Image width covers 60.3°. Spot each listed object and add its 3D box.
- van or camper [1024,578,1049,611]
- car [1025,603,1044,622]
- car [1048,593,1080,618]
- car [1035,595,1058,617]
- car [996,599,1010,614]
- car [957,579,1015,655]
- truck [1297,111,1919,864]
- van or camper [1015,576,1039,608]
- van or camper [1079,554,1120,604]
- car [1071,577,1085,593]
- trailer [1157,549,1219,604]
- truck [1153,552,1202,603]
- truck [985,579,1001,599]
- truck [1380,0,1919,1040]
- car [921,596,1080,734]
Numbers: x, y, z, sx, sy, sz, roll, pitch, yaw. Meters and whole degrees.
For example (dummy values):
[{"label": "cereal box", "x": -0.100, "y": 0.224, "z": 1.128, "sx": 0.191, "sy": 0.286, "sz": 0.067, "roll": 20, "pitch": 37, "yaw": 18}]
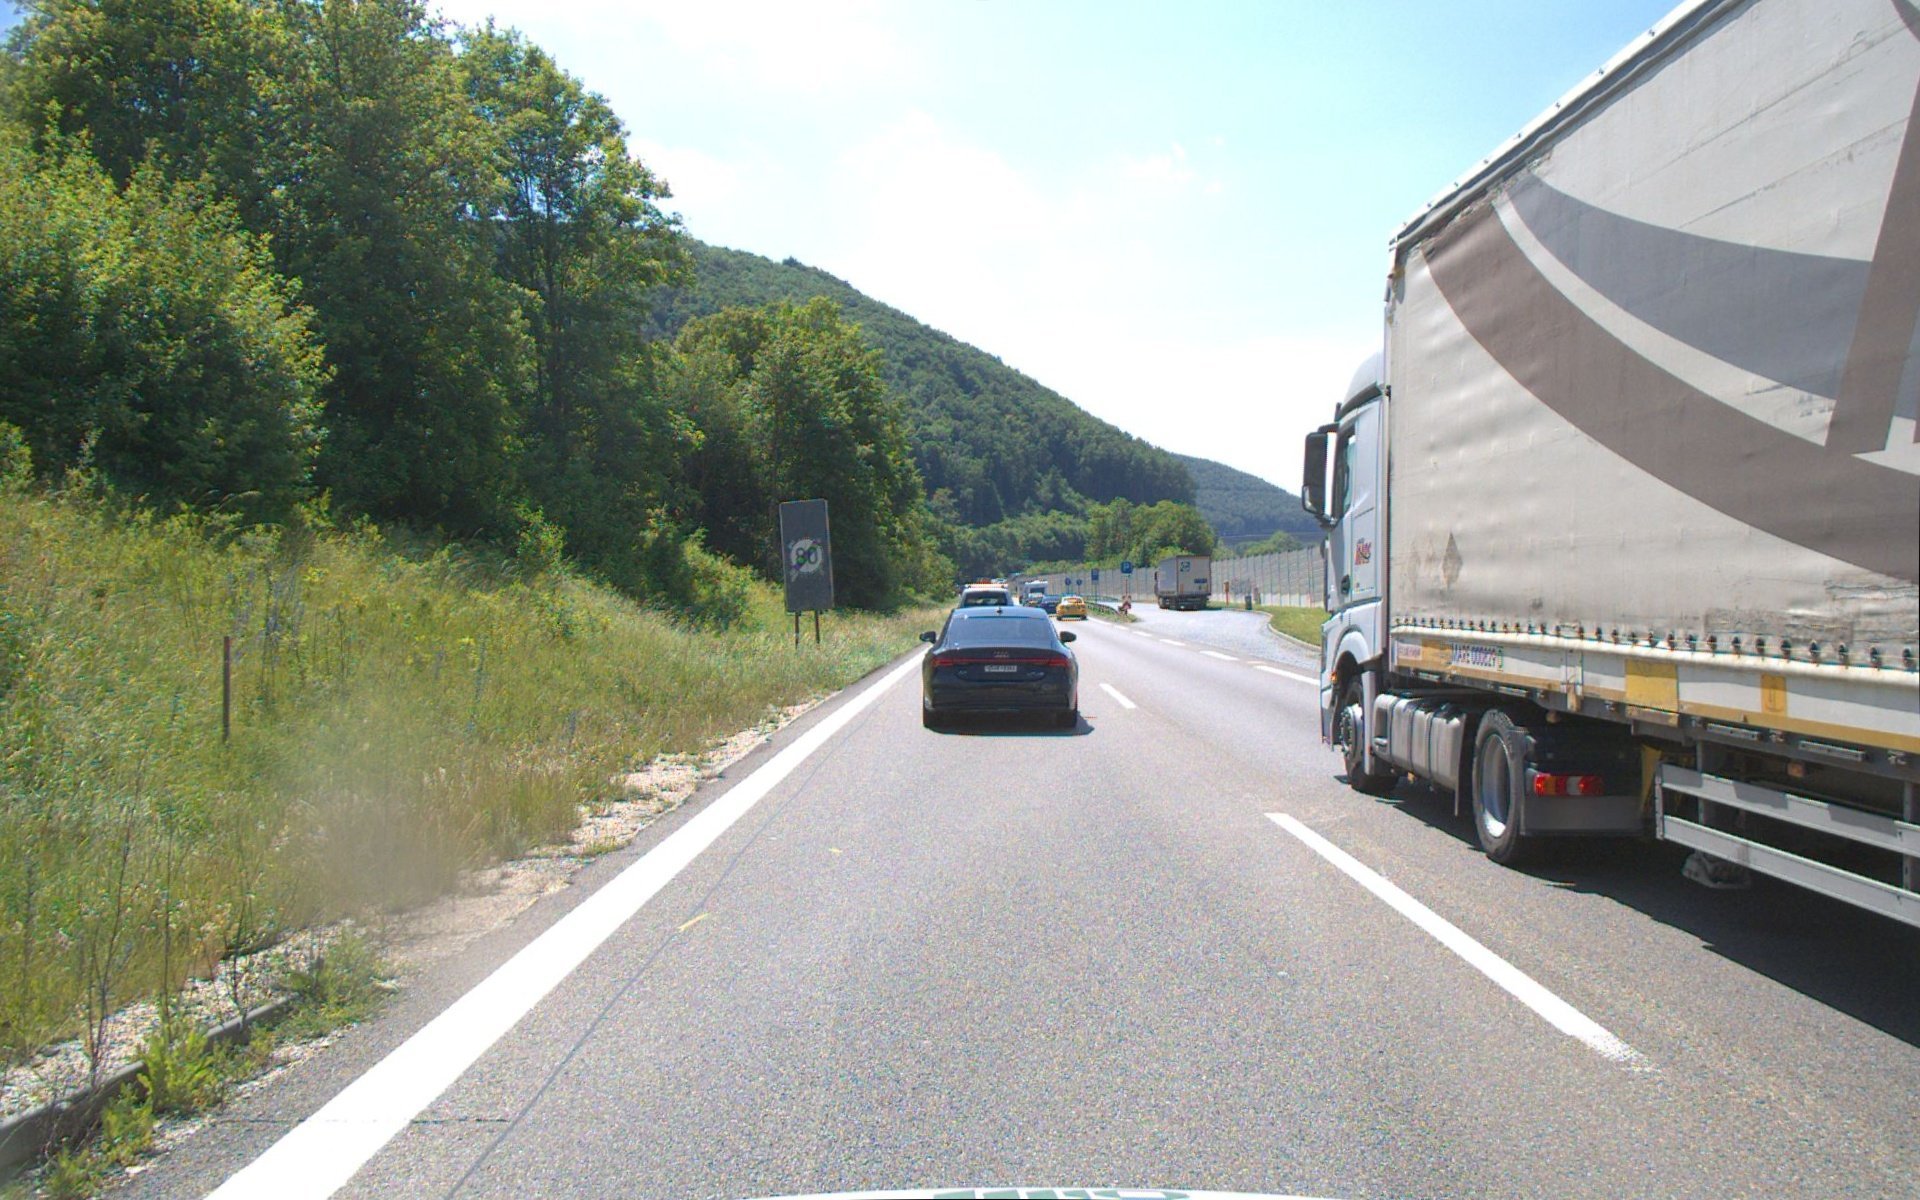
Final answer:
[{"label": "van or camper", "x": 7.691, "y": -0.535, "z": 167.626, "sx": 2.379, "sy": 3.210, "sz": 5.204, "roll": 1, "pitch": -1, "yaw": 1}, {"label": "car", "x": 6.220, "y": 1.038, "z": 137.695, "sx": 1.498, "sy": 1.552, "sz": 3.597, "roll": 1, "pitch": -1, "yaw": 1}, {"label": "car", "x": 6.494, "y": 0.335, "z": 103.368, "sx": 1.840, "sy": 1.525, "sz": 4.001, "roll": 0, "pitch": 0, "yaw": 2}, {"label": "car", "x": 6.208, "y": 0.430, "z": 118.864, "sx": 1.498, "sy": 1.552, "sz": 3.597, "roll": 1, "pitch": -1, "yaw": 1}, {"label": "car", "x": 4.870, "y": 0.752, "z": 186.256, "sx": 1.490, "sy": 1.580, "sz": 3.514, "roll": 2, "pitch": 0, "yaw": 1}, {"label": "car", "x": 0.701, "y": 0.459, "z": 45.915, "sx": 1.490, "sy": 2.003, "sz": 3.514, "roll": 2, "pitch": 0, "yaw": 0}, {"label": "truck", "x": 4.388, "y": -0.591, "z": 11.990, "sx": 2.664, "sy": 4.139, "sz": 5.753, "roll": 0, "pitch": -1, "yaw": -1}, {"label": "van or camper", "x": 8.753, "y": -1.050, "z": 216.542, "sx": 2.738, "sy": 3.975, "sz": 6.166, "roll": 1, "pitch": -1, "yaw": 0}, {"label": "van or camper", "x": 11.420, "y": -1.708, "z": 135.740, "sx": 2.738, "sy": 3.909, "sz": 6.166, "roll": 1, "pitch": -1, "yaw": 0}, {"label": "car", "x": 15.357, "y": -1.969, "z": 215.183, "sx": 1.543, "sy": 2.049, "sz": 3.429, "roll": -1, "pitch": 0, "yaw": 2}, {"label": "trailer", "x": 17.284, "y": -1.722, "z": 126.198, "sx": 3.341, "sy": 3.968, "sz": 11.152, "roll": 0, "pitch": 0, "yaw": 1}, {"label": "truck", "x": 17.355, "y": -1.766, "z": 132.224, "sx": 3.341, "sy": 3.968, "sz": 5.388, "roll": 0, "pitch": 0, "yaw": 1}, {"label": "truck", "x": 4.766, "y": -1.512, "z": 235.397, "sx": 2.021, "sy": 2.651, "sz": 5.616, "roll": 2, "pitch": 0, "yaw": 3}, {"label": "truck", "x": 4.441, "y": -0.648, "z": 5.178, "sx": 2.670, "sy": 4.139, "sz": 13.739, "roll": 0, "pitch": -1, "yaw": 0}, {"label": "car", "x": 0.521, "y": 0.734, "z": 20.418, "sx": 1.774, "sy": 1.541, "sz": 3.515, "roll": 1, "pitch": 0, "yaw": 2}]
